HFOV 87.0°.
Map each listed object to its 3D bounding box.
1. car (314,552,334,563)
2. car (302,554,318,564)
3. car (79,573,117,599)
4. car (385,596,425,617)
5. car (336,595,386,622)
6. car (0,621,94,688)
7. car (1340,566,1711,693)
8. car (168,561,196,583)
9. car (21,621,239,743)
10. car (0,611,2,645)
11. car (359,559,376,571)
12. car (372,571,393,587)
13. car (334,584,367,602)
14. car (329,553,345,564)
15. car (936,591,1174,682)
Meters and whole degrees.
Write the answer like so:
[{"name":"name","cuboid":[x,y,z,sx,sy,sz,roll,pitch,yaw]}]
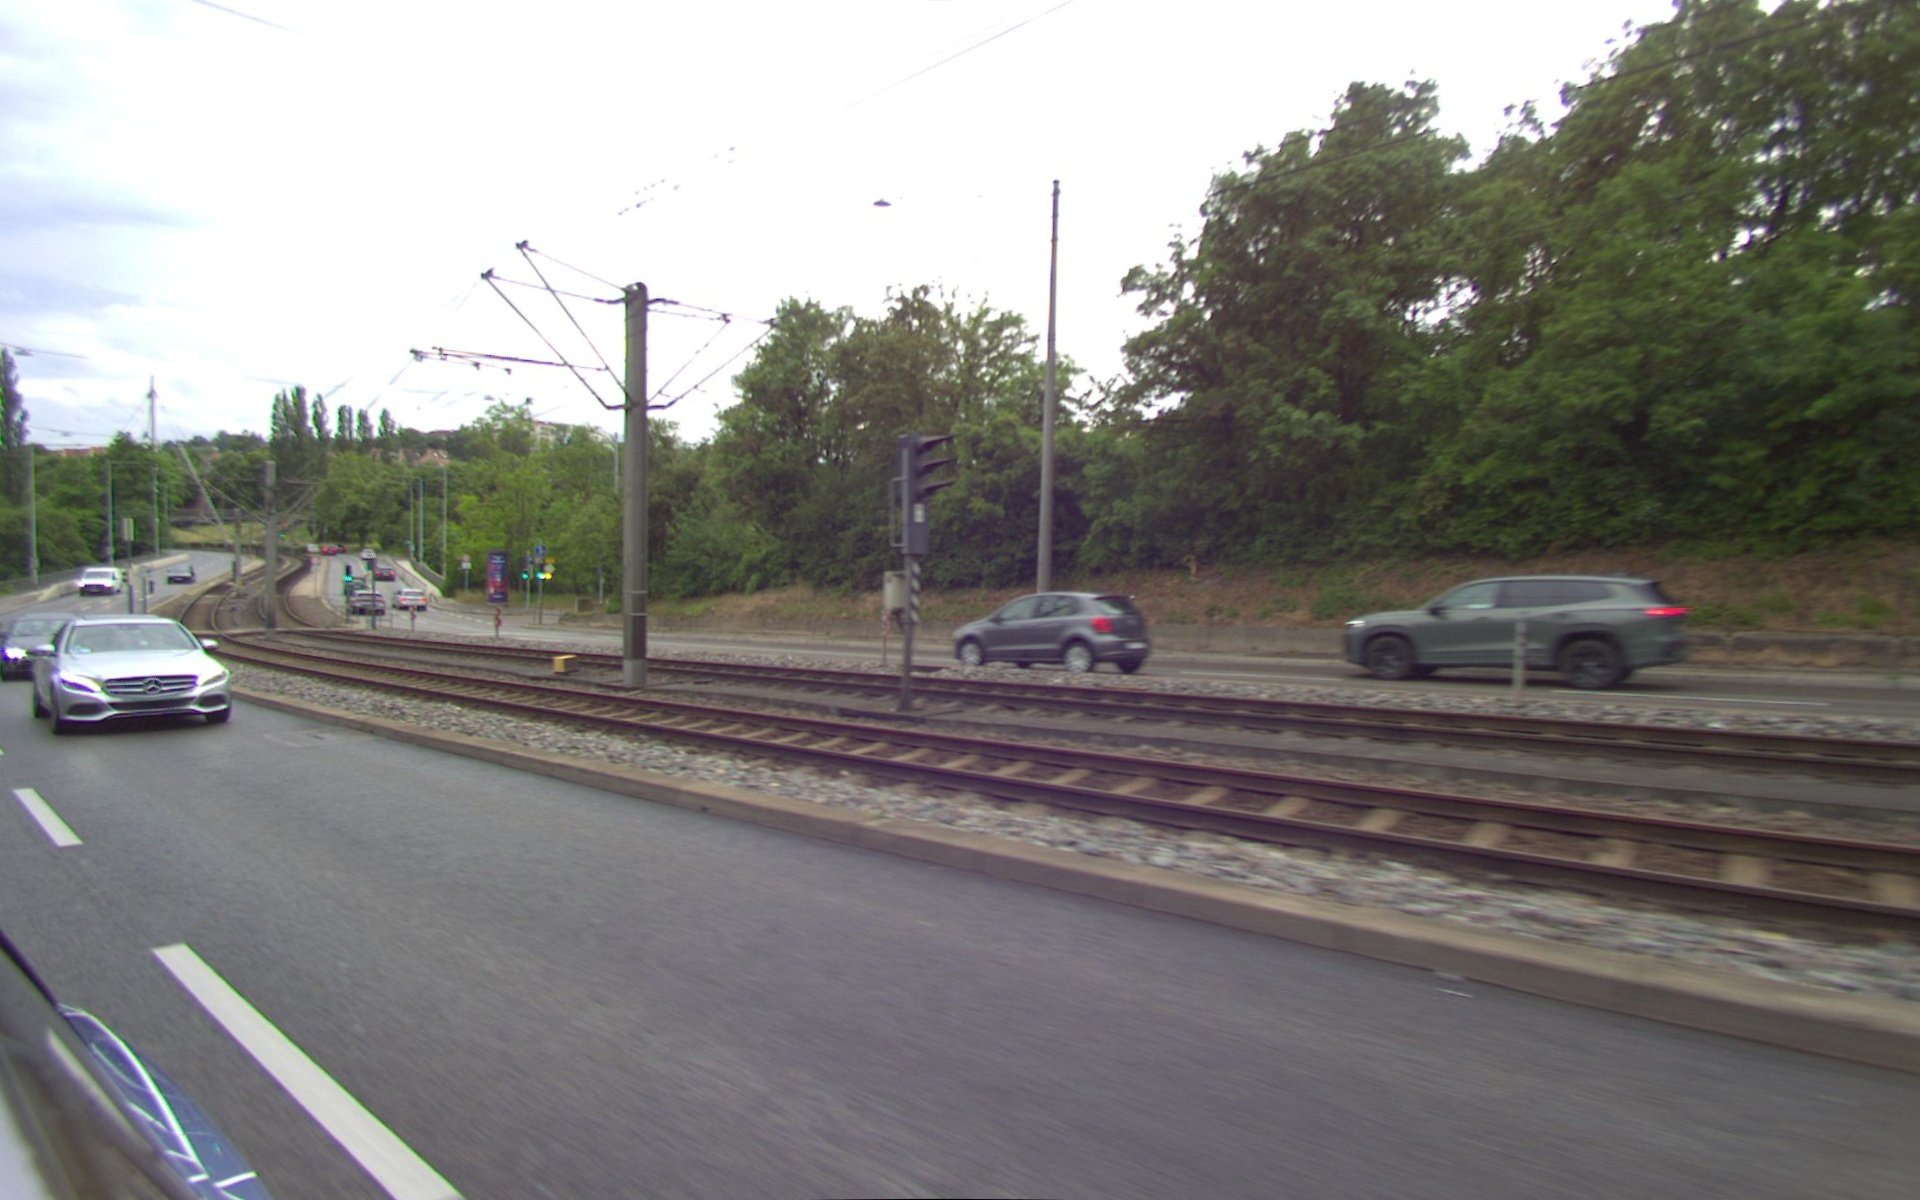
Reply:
[{"name":"car","cuboid":[-100.284,-6.759,159.560,1.825,1.609,4.740,0,3,-41]},{"name":"car","cuboid":[-109.279,-6.928,170.077,1.708,1.447,4.501,0,4,-40]},{"name":"car","cuboid":[-63.190,-1.037,74.248,1.740,1.830,4.010,-2,1,-36]},{"name":"car","cuboid":[-38.898,0.459,70.859,1.795,1.390,4.715,0,0,-37]},{"name":"car","cuboid":[-37.878,0.494,63.932,1.838,1.449,4.863,-2,3,-41]},{"name":"car","cuboid":[-21.331,1.194,23.238,4.000,1.362,1.713,-1,1,43]},{"name":"car","cuboid":[8.584,0.406,15.650,4.738,1.682,1.765,-1,0,42]},{"name":"car","cuboid":[-67.949,-2.466,88.411,1.740,1.830,4.010,-2,1,-36]},{"name":"car","cuboid":[-11.432,0.992,13.842,4.061,1.366,1.846,-1,0,44]},{"name":"car","cuboid":[-42.716,1.286,43.425,1.740,1.512,4.010,-1,1,-35]},{"name":"car","cuboid":[-86.211,-5.117,147.207,1.797,1.526,4.541,-1,4,-36]},{"name":"car","cuboid":[-58.107,-2.103,101.762,1.692,1.469,4.288,0,3,-32]},{"name":"car","cuboid":[-49.157,-0.535,81.577,1.612,1.395,3.901,1,0,-41]},{"name":"car","cuboid":[-105.234,-7.042,170.909,1.942,1.609,5.199,1,3,-34]},{"name":"car","cuboid":[1.615,0.601,18.136,4.032,1.425,1.687,-1,1,43]}]
